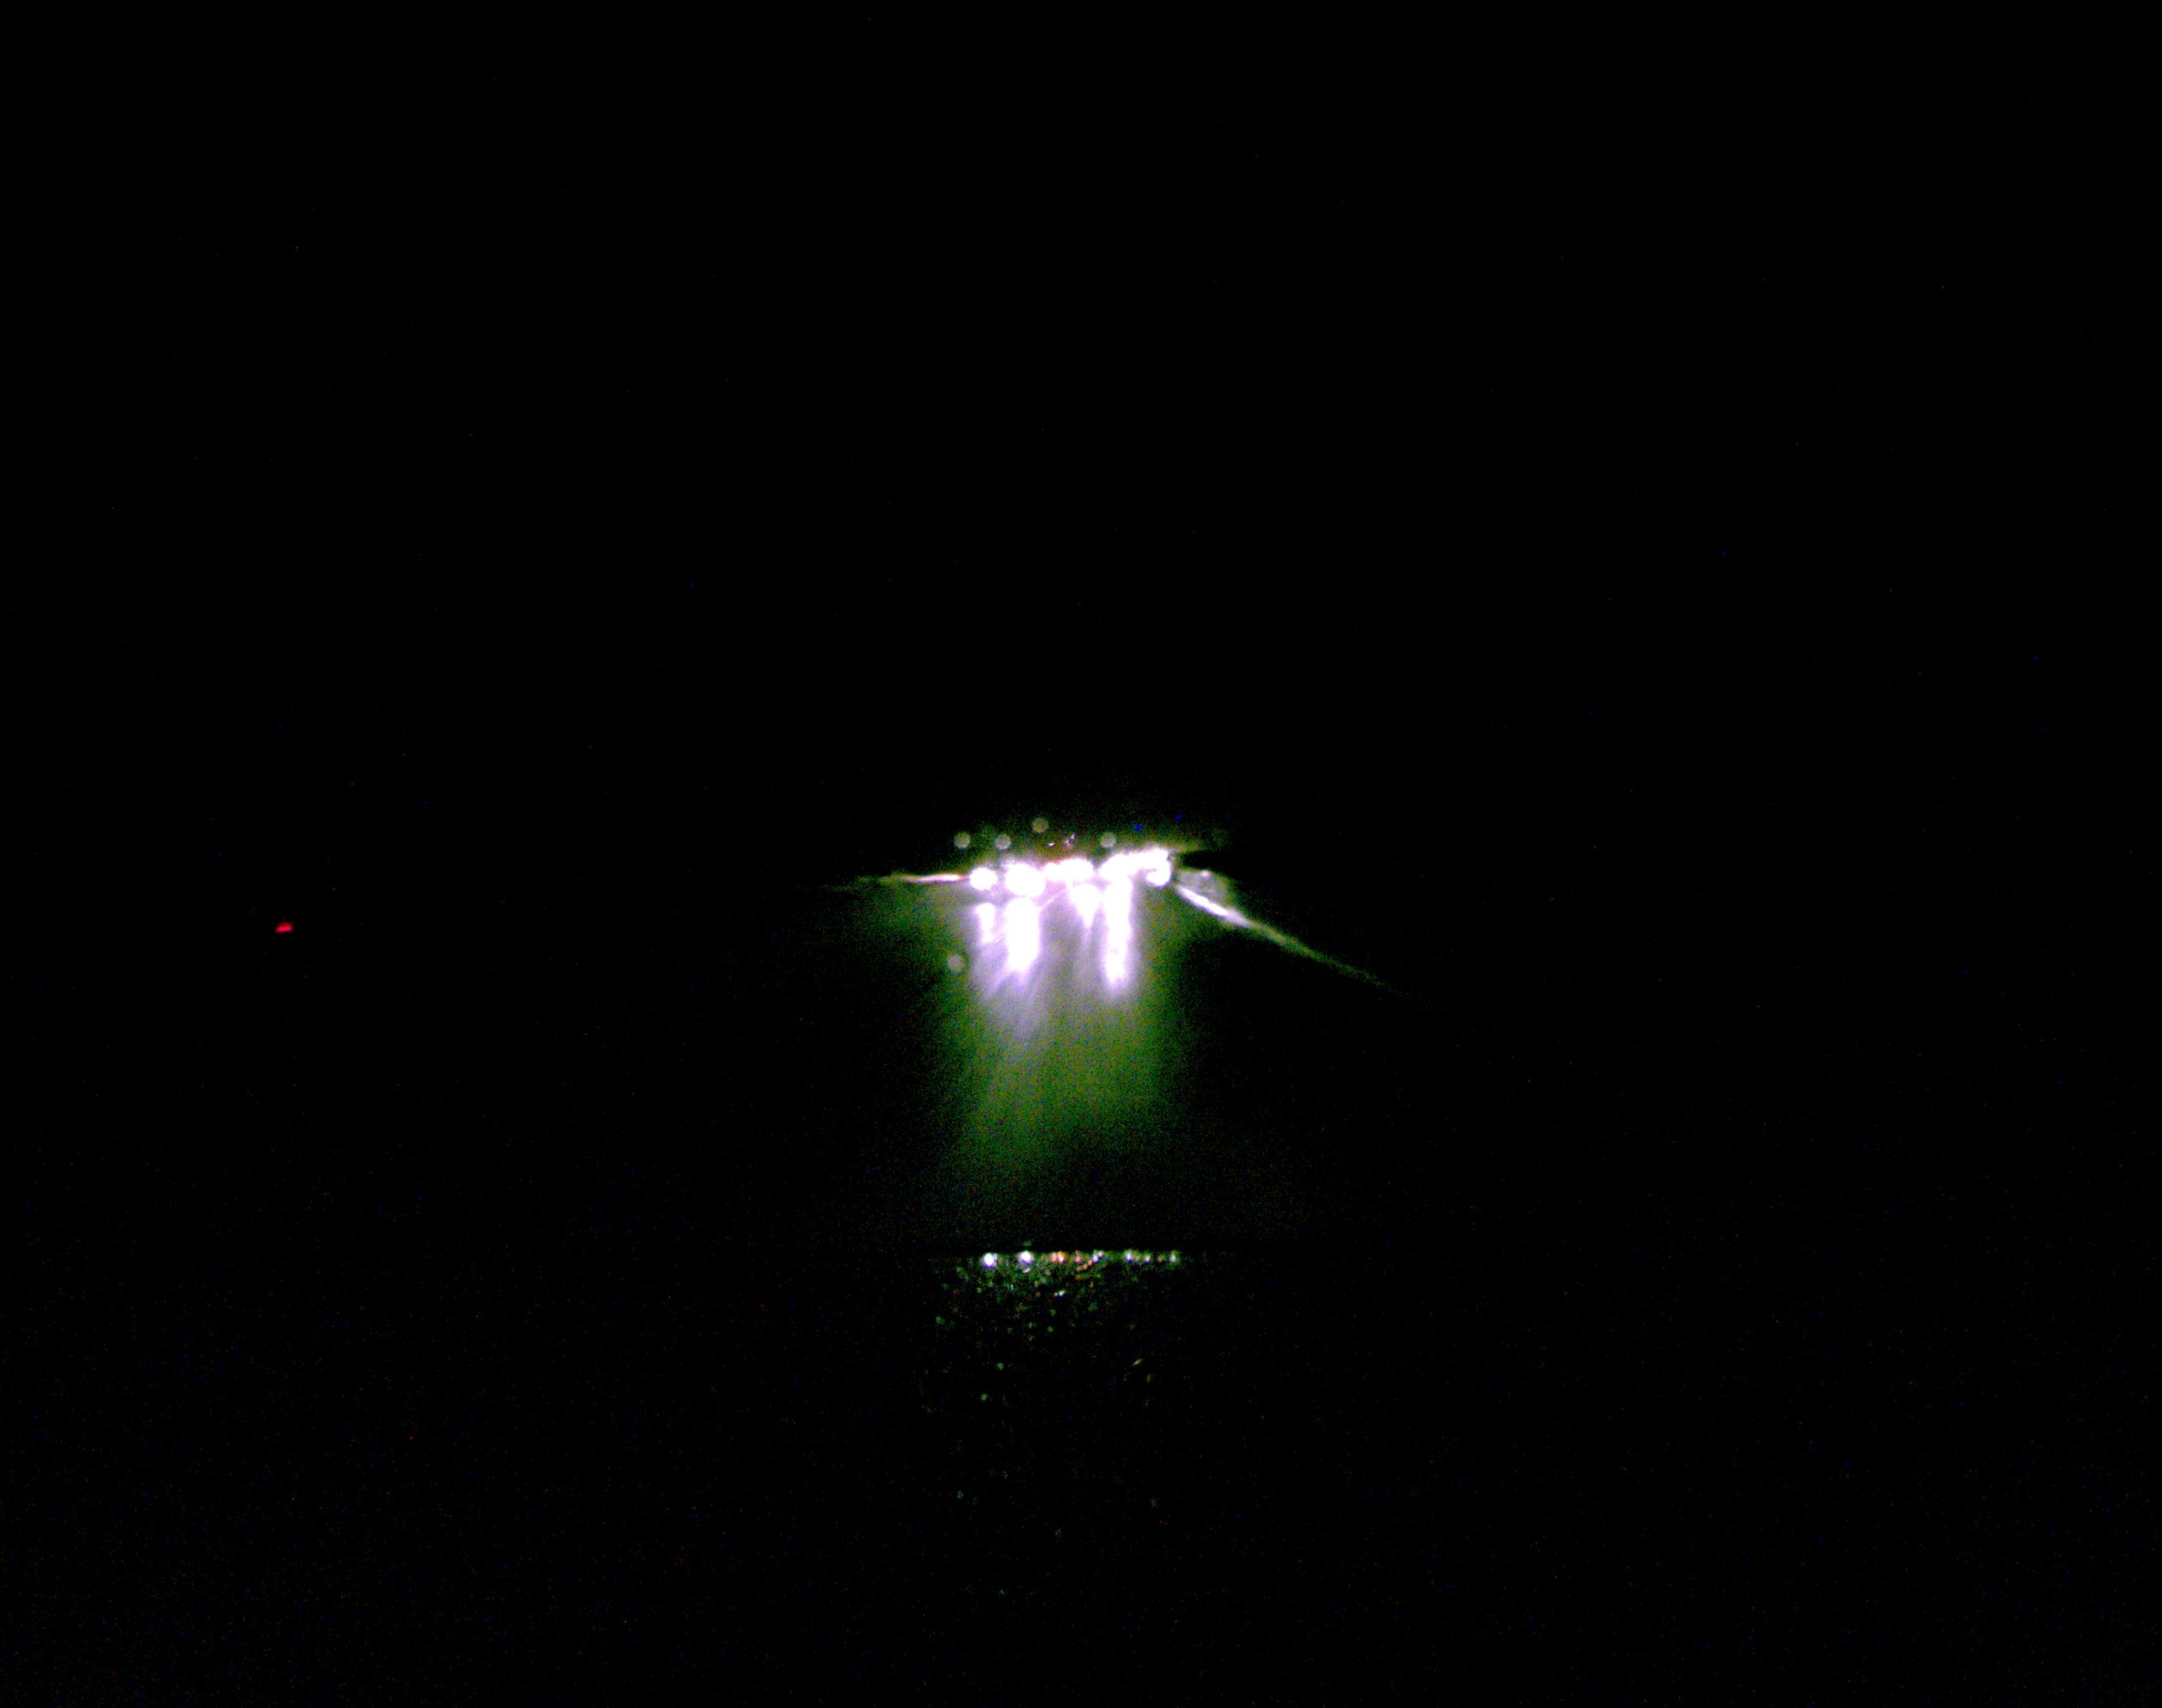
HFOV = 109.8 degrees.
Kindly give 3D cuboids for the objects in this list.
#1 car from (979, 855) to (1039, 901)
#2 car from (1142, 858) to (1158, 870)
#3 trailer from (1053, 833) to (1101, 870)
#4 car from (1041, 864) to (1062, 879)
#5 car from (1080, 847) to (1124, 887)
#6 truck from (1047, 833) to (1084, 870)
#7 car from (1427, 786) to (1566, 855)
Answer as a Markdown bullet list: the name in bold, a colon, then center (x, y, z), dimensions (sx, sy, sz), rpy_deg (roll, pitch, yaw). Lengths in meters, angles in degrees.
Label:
- **car**: center (-2.872, 0.957, 30.961), dimensions (1.847, 1.614, 3.680), rpy_deg (-5, -1, 2)
- **car**: center (11.232, 1.667, 124.328), dimensions (1.999, 1.802, 4.001), rpy_deg (-6, -1, 0)
- **trailer**: center (-0.245, -0.285, 95.506), dimensions (2.744, 3.954, 13.832), rpy_deg (-6, -1, 12)
- **car**: center (-4.246, 2.550, 110.966), dimensions (1.997, 2.001, 4.003), rpy_deg (-6, -1, 11)
- **car**: center (1.242, 0.723, 43.011), dimensions (1.998, 2.001, 4.003), rpy_deg (-5, -1, 6)
- **truck**: center (-1.702, -0.257, 88.559), dimensions (2.780, 3.945, 5.203), rpy_deg (-6, -1, 12)
- **car**: center (12.746, -0.945, 23.645), dimensions (1.998, 1.674, 4.001), rpy_deg (-6, -1, 1)
